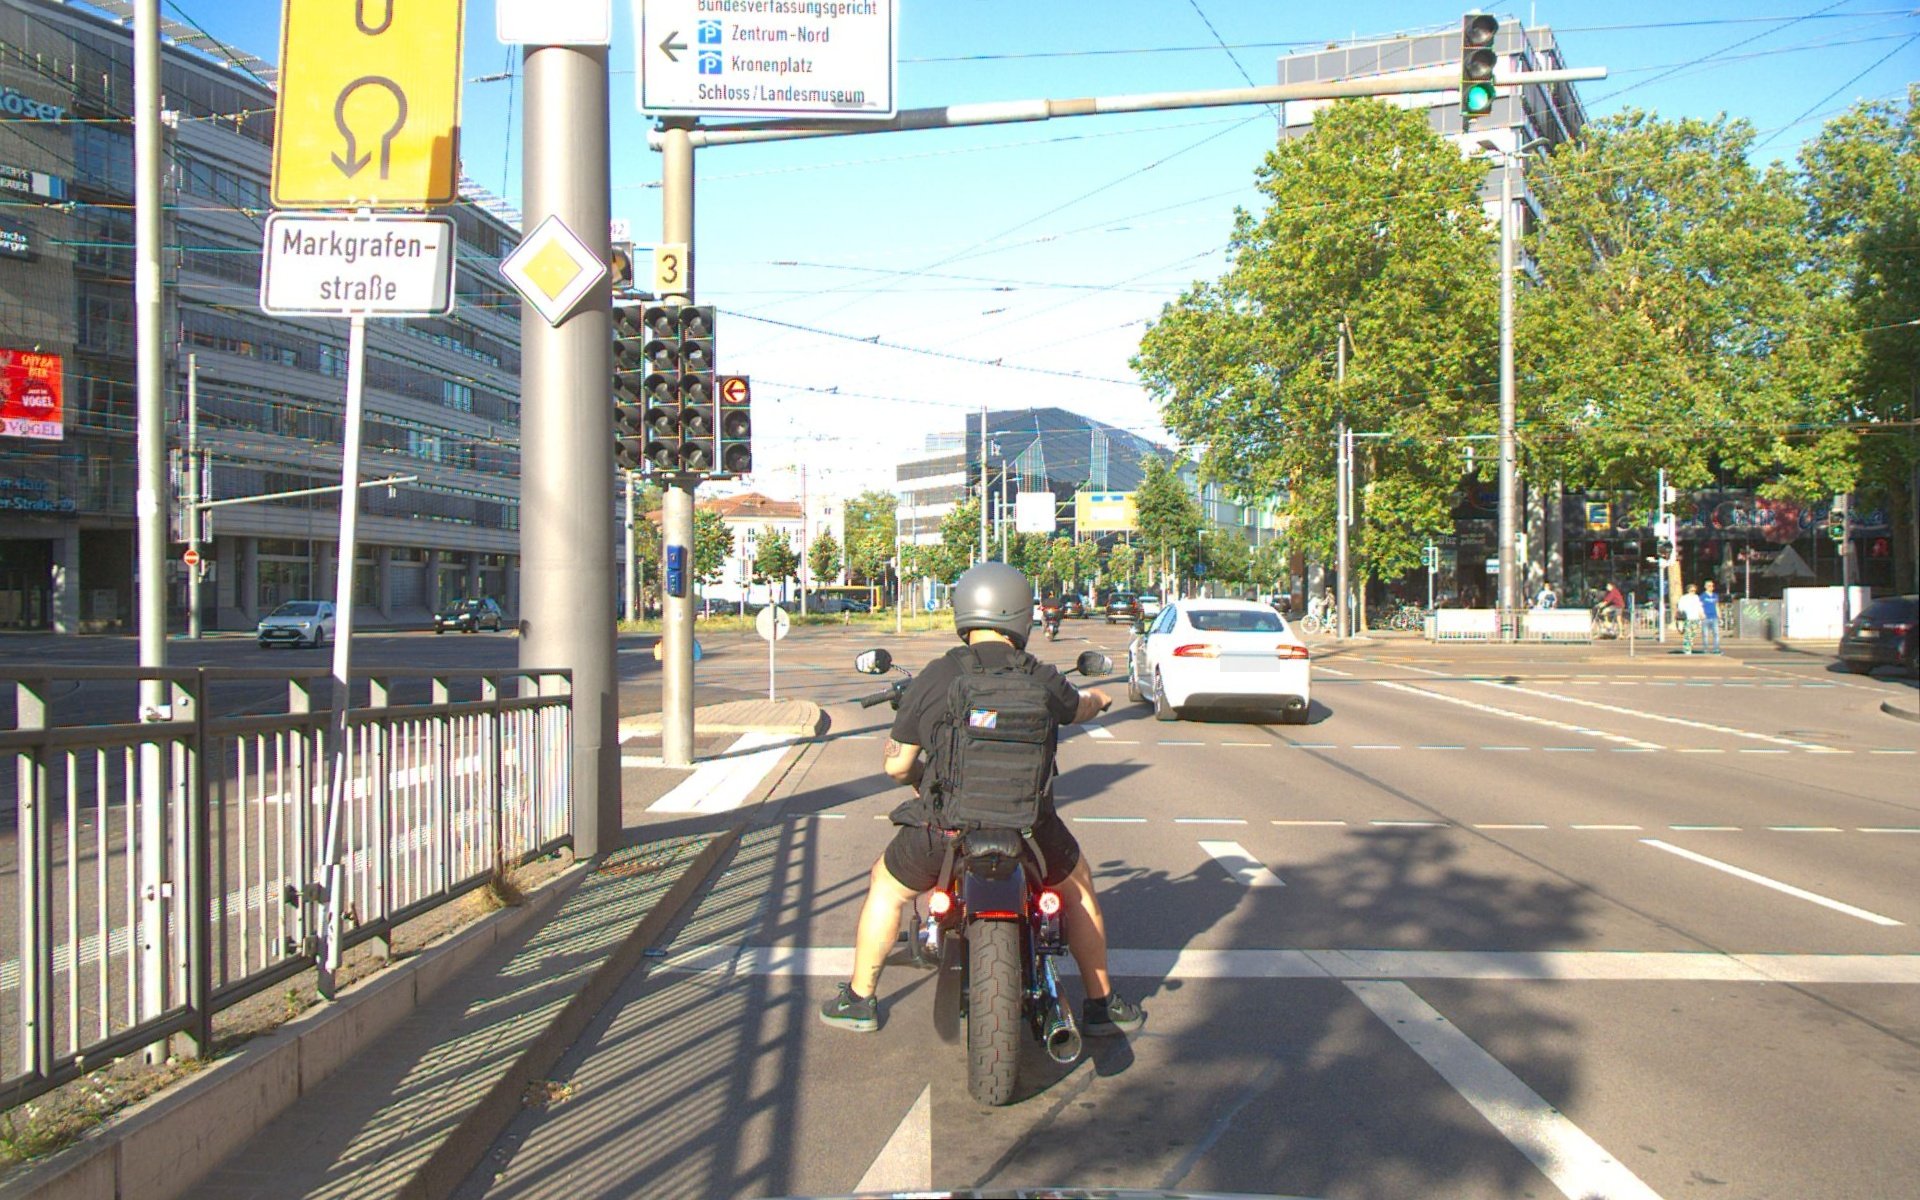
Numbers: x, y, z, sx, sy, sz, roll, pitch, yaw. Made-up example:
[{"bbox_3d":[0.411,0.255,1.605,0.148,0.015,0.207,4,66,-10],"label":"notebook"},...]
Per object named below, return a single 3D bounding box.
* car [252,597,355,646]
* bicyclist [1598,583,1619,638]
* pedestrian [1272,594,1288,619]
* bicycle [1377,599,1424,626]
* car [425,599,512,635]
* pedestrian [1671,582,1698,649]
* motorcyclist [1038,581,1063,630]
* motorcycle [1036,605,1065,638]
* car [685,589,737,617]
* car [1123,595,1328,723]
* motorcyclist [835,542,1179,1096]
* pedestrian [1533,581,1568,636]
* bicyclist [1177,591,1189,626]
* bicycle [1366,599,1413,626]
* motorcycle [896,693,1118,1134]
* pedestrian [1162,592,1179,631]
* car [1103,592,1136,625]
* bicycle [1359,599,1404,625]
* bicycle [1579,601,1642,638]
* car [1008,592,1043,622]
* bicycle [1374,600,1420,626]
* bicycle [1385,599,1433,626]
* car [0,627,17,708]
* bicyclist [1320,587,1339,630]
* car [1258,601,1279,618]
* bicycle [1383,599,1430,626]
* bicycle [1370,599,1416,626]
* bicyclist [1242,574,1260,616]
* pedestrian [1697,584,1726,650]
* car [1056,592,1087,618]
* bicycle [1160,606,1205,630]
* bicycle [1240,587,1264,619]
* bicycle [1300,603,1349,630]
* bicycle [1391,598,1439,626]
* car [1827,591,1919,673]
[{"bbox_3d":[-20.644,0.649,52.194,1.789,1.455,4.525,0,0,-5],"label":"car"},{"bbox_3d":[22.317,0.362,56.930,0.572,1.870,0.402,1,-1,-1],"label":"bicyclist"},{"bbox_3d":[17.560,0.359,90.848,0.802,1.337,0.638,1,-1,8],"label":"pedestrian"},{"bbox_3d":[18.159,0.529,68.151,1.842,1.064,0.360,1,0,-2],"label":"bicycle"},{"bbox_3d":[-20.872,0.710,70.386,1.786,1.455,4.244,1,-1,11],"label":"car"},{"bbox_3d":[17.055,0.361,38.928,0.554,1.559,0.702,1,-1,25],"label":"pedestrian"},{"bbox_3d":[2.988,0.180,54.770,0.780,1.607,0.529,1,-1,-2],"label":"motorcyclist"},{"bbox_3d":[2.983,0.711,54.901,0.787,1.069,2.375,1,-1,-1],"label":"motorcycle"},{"bbox_3d":[-14.315,0.202,95.225,1.712,1.550,4.003,1,-1,11],"label":"car"},{"bbox_3d":[3.253,0.663,21.111,1.767,1.455,4.451,0,0,-2],"label":"car"},{"bbox_3d":[0.133,0.640,5.298,1.009,1.621,0.873,0,0,-1],"label":"motorcyclist"},{"bbox_3d":[18.748,0.270,52.504,0.816,1.734,0.759,1,-1,-1],"label":"pedestrian"},{"bbox_3d":[9.054,0.349,67.216,0.374,1.397,0.344,1,-1,-9],"label":"bicyclist"},{"bbox_3d":[18.114,0.523,69.768,1.842,1.064,0.360,1,0,-2],"label":"bicycle"},{"bbox_3d":[0.112,0.920,5.630,0.588,1.054,2.233,1,0,-1],"label":"motorcycle"},{"bbox_3d":[8.744,0.482,68.790,0.576,1.584,0.488,1,-1,-9],"label":"pedestrian"},{"bbox_3d":[9.000,0.448,93.141,1.695,1.762,4.615,1,1,7],"label":"car"},{"bbox_3d":[18.067,0.524,70.918,1.842,1.064,0.360,1,0,-2],"label":"bicycle"},{"bbox_3d":[22.376,0.677,56.920,2.001,1.235,0.421,1,-1,-1],"label":"bicycle"},{"bbox_3d":[3.438,0.371,86.406,1.695,1.482,4.420,1,-1,4],"label":"car"},{"bbox_3d":[18.178,0.535,68.783,1.842,1.065,0.360,1,-1,-2],"label":"bicycle"},{"bbox_3d":[18.141,0.491,66.779,1.842,1.065,0.360,1,-1,-2],"label":"bicycle"},{"bbox_3d":[-14.523,0.903,22.416,2.835,1.081,1.235,1,-1,-22],"label":"car"},{"bbox_3d":[14.602,0.342,65.389,0.673,1.702,0.541,0,-1,18],"label":"bicyclist"},{"bbox_3d":[31.845,0.983,170.848,1.765,1.708,4.043,1,-1,15],"label":"car"},{"bbox_3d":[18.244,0.513,67.597,1.842,1.065,0.360,1,-1,-2],"label":"bicycle"},{"bbox_3d":[18.139,0.526,69.268,1.842,1.064,0.360,1,0,-2],"label":"bicycle"},{"bbox_3d":[12.916,-0.211,73.320,0.682,1.840,0.729,1,-1,3],"label":"bicyclist"},{"bbox_3d":[17.646,0.399,38.838,0.554,1.505,0.702,1,-1,20],"label":"pedestrian"},{"bbox_3d":[7.820,0.374,115.303,1.765,1.708,4.044,1,-1,9],"label":"car"},{"bbox_3d":[9.027,0.715,67.200,1.792,0.942,0.357,1,-1,-9],"label":"bicycle"},{"bbox_3d":[12.909,0.137,73.228,0.710,1.391,2.918,1,-1,3],"label":"bicycle"},{"bbox_3d":[14.413,0.664,65.446,1.831,1.062,0.537,0,-1,18],"label":"bicycle"},{"bbox_3d":[18.151,0.471,65.997,1.842,1.065,0.360,1,-1,-2],"label":"bicycle"},{"bbox_3d":[18.702,0.603,31.216,3.956,1.475,1.732,1,0,-12],"label":"car"}]
